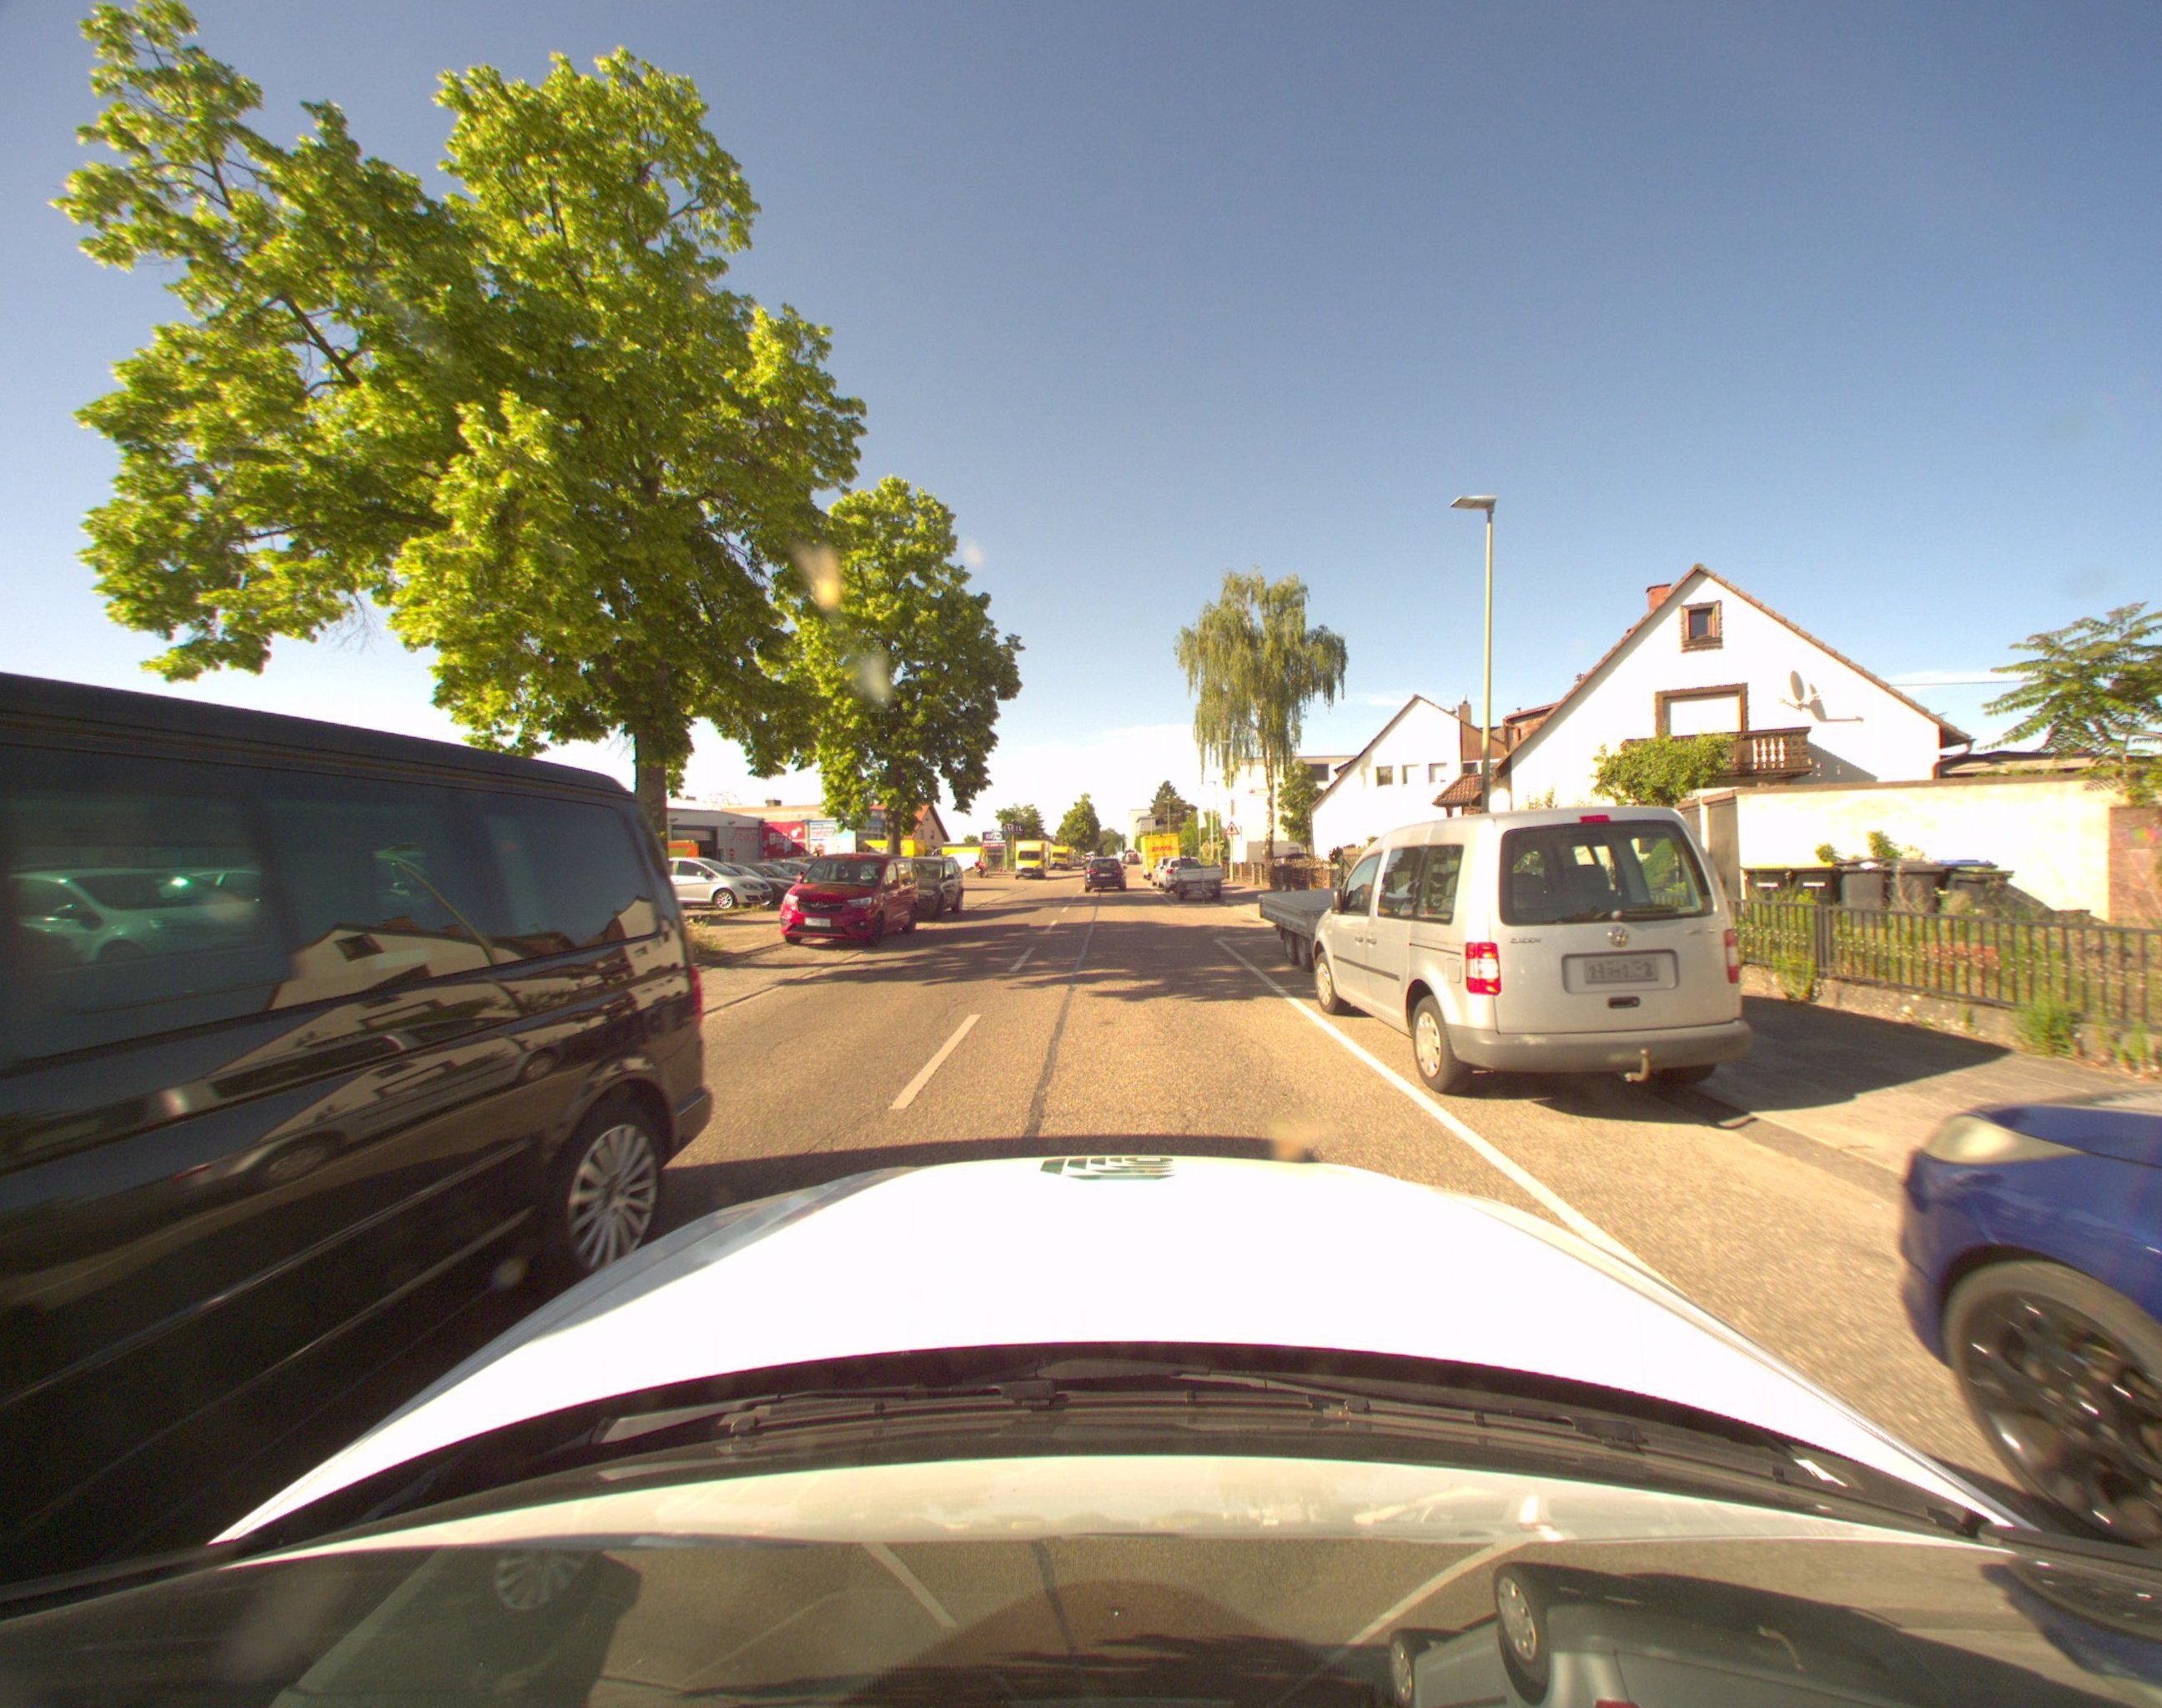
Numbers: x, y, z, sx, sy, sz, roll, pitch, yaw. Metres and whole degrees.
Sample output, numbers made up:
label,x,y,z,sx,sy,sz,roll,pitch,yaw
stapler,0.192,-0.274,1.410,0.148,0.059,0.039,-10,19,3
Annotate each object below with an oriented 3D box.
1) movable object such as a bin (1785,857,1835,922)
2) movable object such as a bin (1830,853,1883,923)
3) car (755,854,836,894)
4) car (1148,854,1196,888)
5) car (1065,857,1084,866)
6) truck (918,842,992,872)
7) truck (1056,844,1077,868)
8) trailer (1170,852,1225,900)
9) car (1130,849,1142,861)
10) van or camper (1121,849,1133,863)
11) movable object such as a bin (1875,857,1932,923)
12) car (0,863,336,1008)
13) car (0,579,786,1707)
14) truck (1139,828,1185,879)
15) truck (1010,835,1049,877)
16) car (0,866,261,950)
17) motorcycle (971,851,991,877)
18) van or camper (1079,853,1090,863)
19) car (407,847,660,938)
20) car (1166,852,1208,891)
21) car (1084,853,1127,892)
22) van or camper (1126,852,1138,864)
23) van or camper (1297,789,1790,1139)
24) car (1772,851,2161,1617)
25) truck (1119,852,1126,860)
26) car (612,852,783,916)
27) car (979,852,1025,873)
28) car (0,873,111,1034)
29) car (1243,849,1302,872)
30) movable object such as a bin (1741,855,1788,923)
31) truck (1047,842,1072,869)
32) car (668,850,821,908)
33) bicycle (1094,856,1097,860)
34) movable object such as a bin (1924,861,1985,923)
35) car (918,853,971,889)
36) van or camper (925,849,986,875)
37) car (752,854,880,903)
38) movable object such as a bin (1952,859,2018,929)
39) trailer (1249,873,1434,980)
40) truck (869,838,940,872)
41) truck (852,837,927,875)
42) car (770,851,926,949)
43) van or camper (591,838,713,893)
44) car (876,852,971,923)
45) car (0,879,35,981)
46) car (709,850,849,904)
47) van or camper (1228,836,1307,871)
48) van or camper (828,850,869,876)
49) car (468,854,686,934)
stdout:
label,x,y,z,sx,sy,sz,roll,pitch,yaw
movable object such as a bin,11.850,0.575,13.252,0.498,1.026,0.461,-1,0,29
movable object such as a bin,12.332,0.527,12.965,0.498,1.078,0.461,-1,0,29
car,-14.109,0.968,40.508,1.764,1.748,4.179,-1,1,13
car,4.396,0.770,39.925,1.779,1.542,4.535,-1,0,-1
car,-1.129,1.303,139.778,1.883,1.485,4.014,-3,1,-22
truck,-10.995,0.254,71.149,5.880,2.567,2.232,0,0,13
truck,-1.836,0.273,103.509,2.183,2.902,6.444,1,0,3
trailer,4.010,0.733,28.417,1.620,1.538,3.201,-1,0,3
car,8.936,0.183,132.759,1.911,1.825,4.082,-1,0,2
van or camper,8.134,0.392,143.163,1.986,2.310,4.002,-1,0,2
movable object such as a bin,12.748,0.547,12.628,0.498,0.999,0.461,-1,0,29
car,-12.114,0.968,10.135,4.227,1.541,1.769,-2,1,6
car,-2.658,0.606,1.928,1.886,2.031,4.821,-3,0,2
truck,5.130,-0.026,52.503,2.393,2.936,7.019,-3,0,2
truck,-3.856,0.165,62.555,2.394,2.983,7.246,0,0,1
car,-21.190,1.100,18.021,1.686,1.555,4.011,-1,0,10
motorcycle,-7.675,0.748,62.504,0.777,1.873,3.046,2,1,6
van or camper,0.837,0.891,202.701,2.317,2.362,6.524,-1,0,-2
car,-11.364,0.779,17.033,4.225,1.728,1.769,-2,0,7
car,4.427,0.692,34.422,1.666,1.542,4.049,-1,0,6
car,1.114,0.768,35.301,1.704,1.532,3.690,-2,0,3
van or camper,8.653,0.645,138.027,1.911,2.019,4.082,-1,0,2
van or camper,3.061,0.602,6.520,1.712,1.890,4.182,-1,0,2
car,2.997,0.745,0.726,1.714,1.505,3.562,-1,0,-1
truck,12.054,0.531,237.600,1.986,2.287,6.959,-1,0,2
car,-11.396,0.877,24.375,4.230,1.728,1.768,-2,0,4
car,-8.018,0.808,82.371,4.222,2.013,1.874,-1,0,10
car,-12.585,0.996,8.090,4.225,1.542,1.769,-1,0,7
car,14.391,0.498,61.193,4.003,1.618,1.798,-1,0,-22
movable object such as a bin,11.334,0.571,13.513,0.498,1.096,0.461,-1,0,29
truck,-2.470,0.210,94.238,2.393,2.983,6.377,0,0,2
car,-10.878,0.803,26.473,4.225,1.728,1.769,-2,0,7
bicycle,4.327,1.132,238.218,0.826,1.153,2.940,-1,0,1
movable object such as a bin,13.237,0.569,12.355,0.498,0.912,0.461,-1,0,29
car,-6.917,0.838,41.660,1.854,1.714,4.278,2,0,1
van or camper,-10.467,0.652,68.205,4.517,2.013,2.256,-1,0,8
car,-10.098,0.928,31.181,4.225,1.728,1.769,-2,0,7
movable object such as a bin,13.051,0.568,11.767,0.498,0.965,0.461,-1,0,29
trailer,3.559,0.932,11.680,1.622,1.217,3.144,-1,0,-1
truck,-16.414,0.080,75.649,6.047,2.972,2.182,-1,0,14
truck,-16.276,0.133,69.371,5.629,3.119,2.532,0,0,13
car,-4.633,0.839,16.927,1.796,1.752,4.344,1,0,2
van or camper,-22.839,0.572,43.729,2.150,2.715,6.291,-1,0,13
car,-4.359,0.855,23.200,1.668,1.771,4.557,1,0,2
car,-17.364,1.172,10.768,1.655,1.517,4.009,-1,0,8
car,-10.559,0.799,28.591,4.225,1.728,1.769,-2,0,7
van or camper,14.697,-0.050,64.136,5.839,2.541,2.272,-1,0,-23
van or camper,-18.645,0.717,65.411,1.852,2.013,4.004,-1,0,4
car,-11.965,0.932,19.462,4.225,1.728,1.769,-2,0,7
